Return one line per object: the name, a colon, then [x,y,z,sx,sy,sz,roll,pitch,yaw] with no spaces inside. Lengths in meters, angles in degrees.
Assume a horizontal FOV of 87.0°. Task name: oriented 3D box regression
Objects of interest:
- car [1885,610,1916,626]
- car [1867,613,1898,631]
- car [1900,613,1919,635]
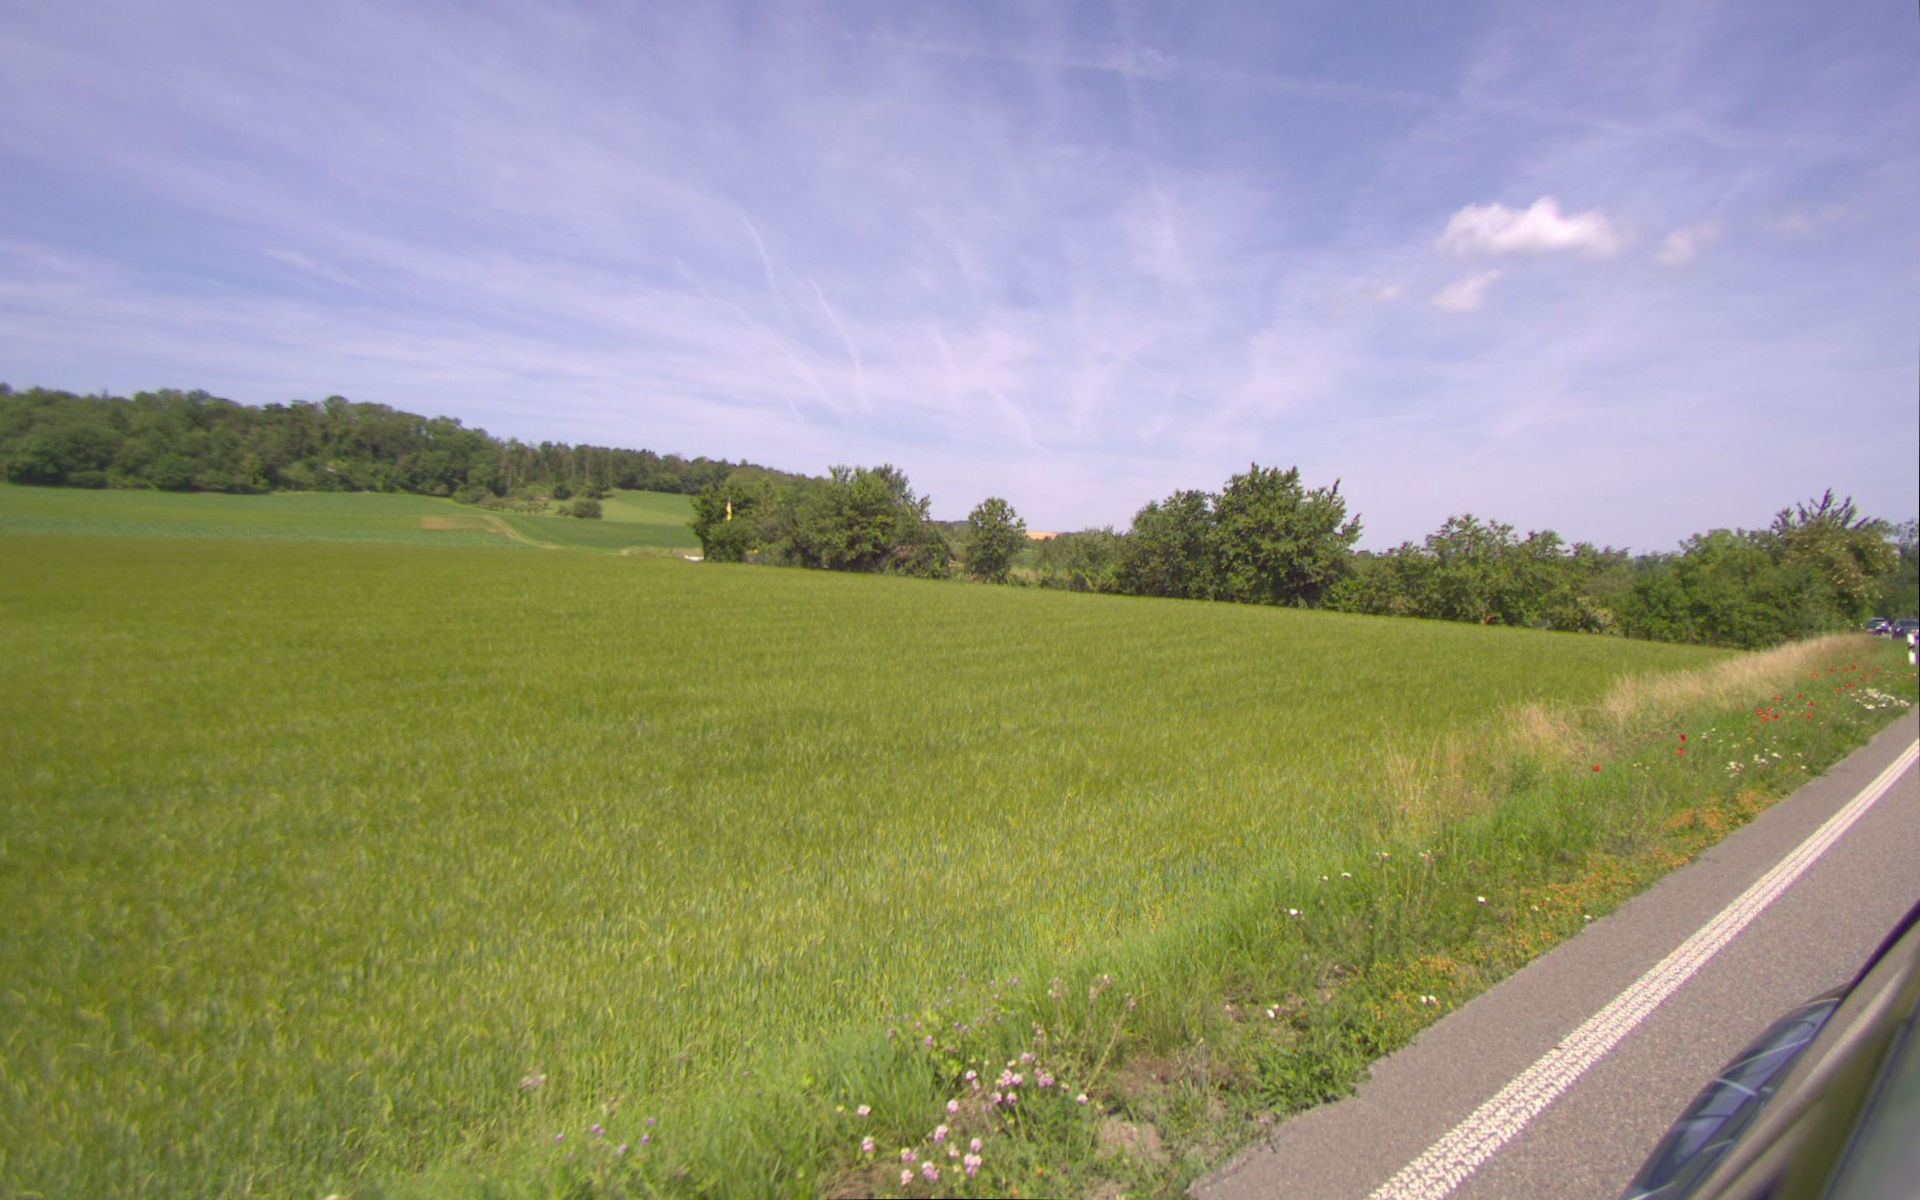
car: [98.396,1.868,105.919,1.918,1.647,3.948,0,-1,36]
car: [83.902,2.018,92.107,1.923,1.468,3.941,3,2,41]
car: [71.361,1.823,75.199,1.922,1.468,4.018,3,3,40]
